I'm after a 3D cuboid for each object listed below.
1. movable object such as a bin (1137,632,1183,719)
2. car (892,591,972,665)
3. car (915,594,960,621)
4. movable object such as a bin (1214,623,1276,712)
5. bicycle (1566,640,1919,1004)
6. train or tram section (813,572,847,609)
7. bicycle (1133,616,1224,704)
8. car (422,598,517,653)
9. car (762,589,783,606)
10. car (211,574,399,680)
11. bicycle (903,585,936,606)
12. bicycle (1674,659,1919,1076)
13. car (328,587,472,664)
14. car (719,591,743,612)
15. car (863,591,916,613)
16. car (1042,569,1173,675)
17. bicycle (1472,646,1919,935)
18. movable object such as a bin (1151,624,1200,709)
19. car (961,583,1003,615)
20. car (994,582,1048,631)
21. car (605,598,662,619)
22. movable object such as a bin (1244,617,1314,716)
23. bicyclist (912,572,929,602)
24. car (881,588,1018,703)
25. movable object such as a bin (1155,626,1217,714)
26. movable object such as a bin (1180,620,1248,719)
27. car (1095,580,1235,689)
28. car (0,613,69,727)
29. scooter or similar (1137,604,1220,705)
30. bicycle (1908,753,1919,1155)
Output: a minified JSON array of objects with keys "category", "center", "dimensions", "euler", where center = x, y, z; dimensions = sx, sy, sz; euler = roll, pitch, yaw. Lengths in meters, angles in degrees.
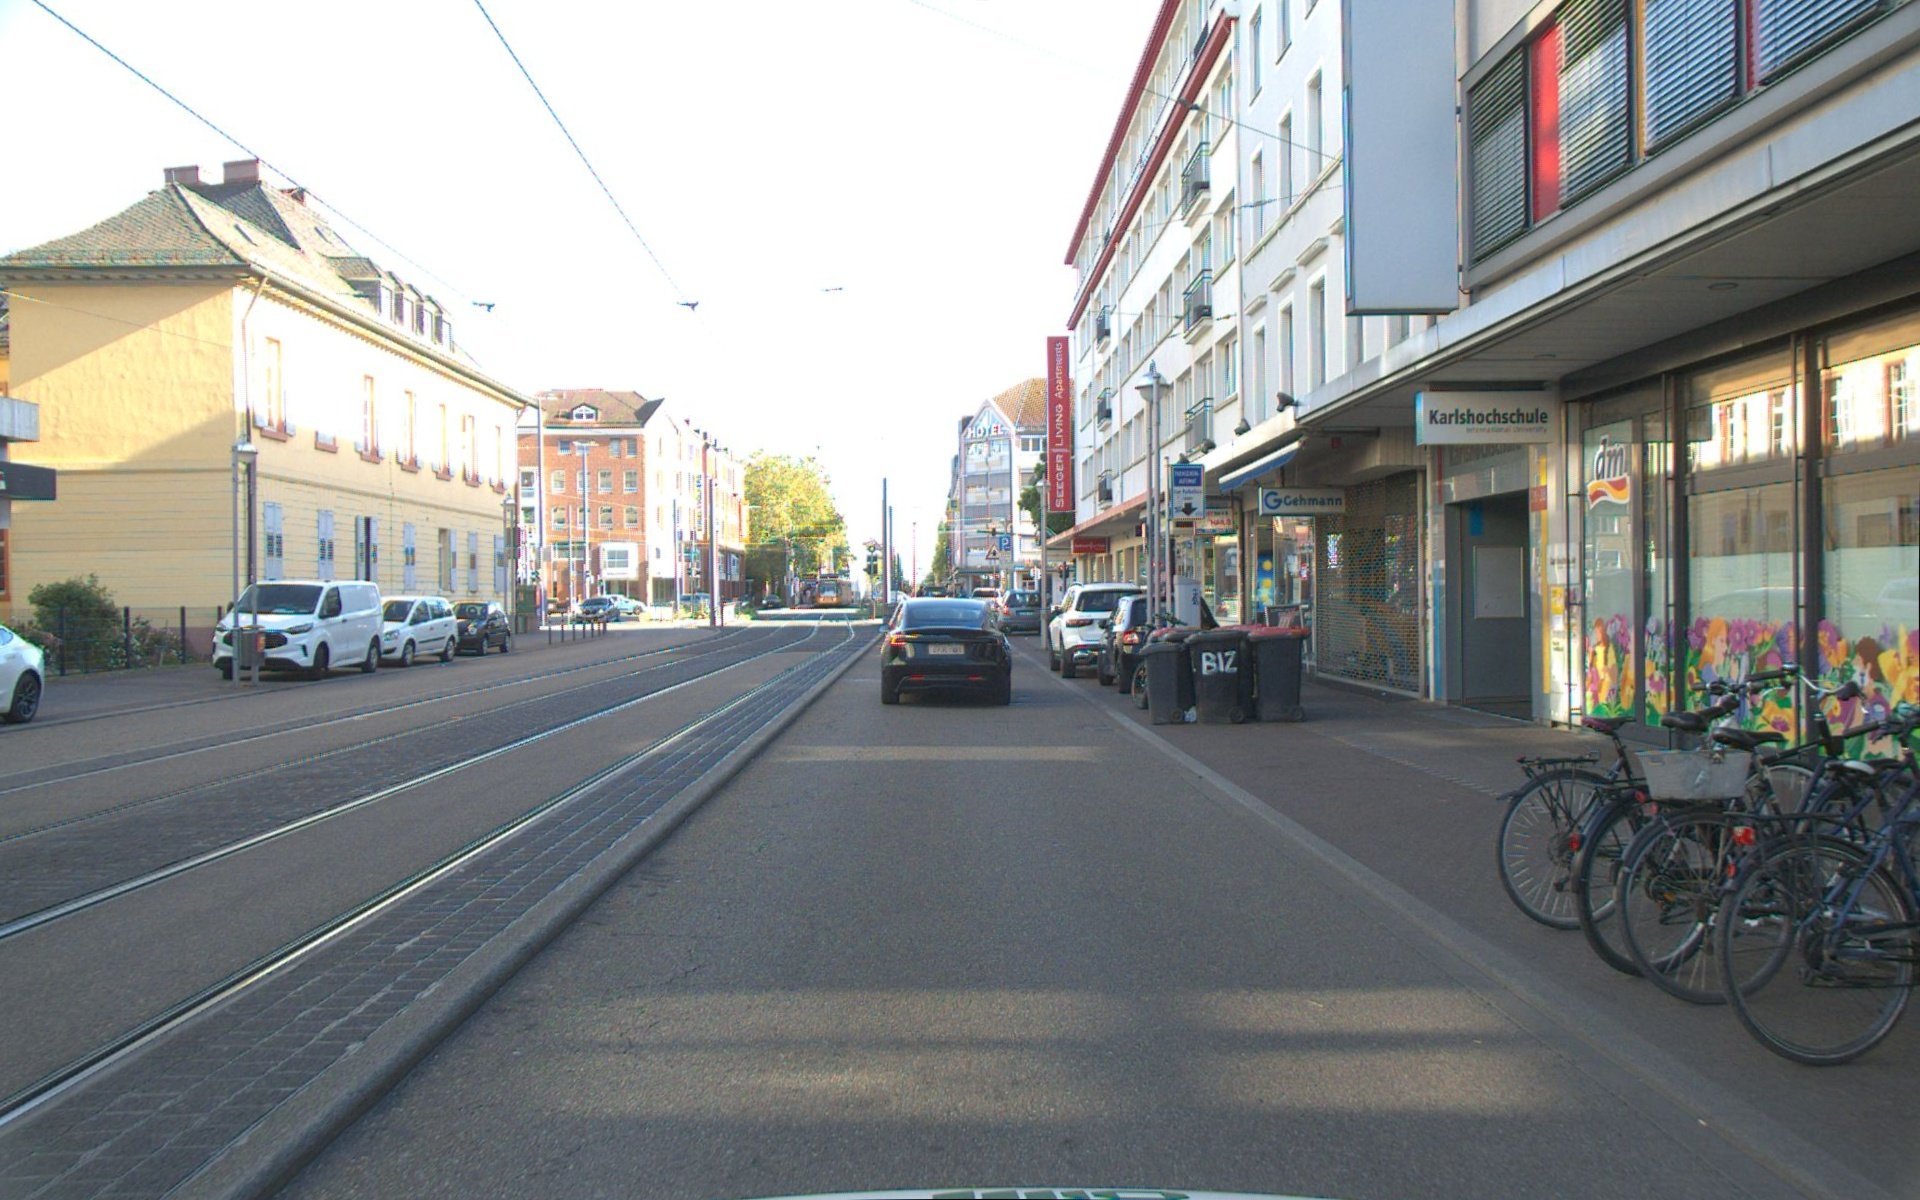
[{"category":"movable object such as a bin","center":[2.348,0.881,19.423],"dimensions":[0.477,0.975,0.458],"euler":[-2,0,2]},{"category":"car","center":[-0.581,0.557,35.776],"dimensions":[1.620,1.443,4.000],"euler":[1,1,0]},{"category":"car","center":[-1.369,0.415,97.937],"dimensions":[1.793,1.545,4.203],"euler":[1,0,-14]},{"category":"movable object such as a bin","center":[3.450,0.811,20.062],"dimensions":[0.644,1.032,0.636],"euler":[-1,0,1]},{"category":"bicycle","center":[3.311,0.798,6.279],"dimensions":[1.751,1.238,0.669],"euler":[-2,0,-2]},{"category":"train or tram section","center":[-13.930,-0.999,178.404],"dimensions":[2.620,3.780,14.190],"euler":[1,0,-1]},{"category":"bicycle","center":[2.874,0.784,21.804],"dimensions":[1.108,1.098,0.319],"euler":[-2,0,-3]},{"category":"car","center":[-13.596,0.686,46.036],"dimensions":[1.581,1.425,3.719],"euler":[1,0,-2]},{"category":"car","center":[-19.458,-0.260,171.970],"dimensions":[1.715,1.680,3.999],"euler":[1,0,-1]},{"category":"car","center":[-13.457,0.521,34.346],"dimensions":[1.953,2.009,5.095],"euler":[1,0,-2]},{"category":"bicycle","center":[-2.158,-0.246,87.816],"dimensions":[1.696,1.107,0.677],"euler":[1,0,-9]},{"category":"bicycle","center":[3.352,0.825,5.428],"dimensions":[1.751,1.238,0.587],"euler":[-2,0,-2]},{"category":"car","center":[-13.494,0.583,40.122],"dimensions":[1.770,1.715,4.649],"euler":[1,0,1]},{"category":"car","center":[-23.392,0.158,168.857],"dimensions":[1.953,2.049,3.999],"euler":[1,0,-1]},{"category":"car","center":[-5.751,0.170,135.290],"dimensions":[3.960,1.769,1.973],"euler":[-1,0,-39]},{"category":"car","center":[2.690,0.385,31.343],"dimensions":[1.812,1.754,5.191],"euler":[-2,0,-2]},{"category":"bicycle","center":[3.325,0.838,7.545],"dimensions":[1.751,1.179,0.669],"euler":[-2,0,-2]},{"category":"movable object such as a bin","center":[2.709,0.827,20.833],"dimensions":[0.511,1.032,0.671],"euler":[-1,0,1]},{"category":"car","center":[1.086,-0.055,83.005],"dimensions":[1.748,1.545,4.214],"euler":[1,0,-4]},{"category":"car","center":[2.147,0.205,59.182],"dimensions":[1.710,1.660,3.648],"euler":[-2,1,-1]},{"category":"car","center":[-24.066,0.615,122.012],"dimensions":[1.958,1.445,3.988],"euler":[1,0,33]},{"category":"movable object such as a bin","center":[3.717,0.770,19.298],"dimensions":[0.676,1.108,0.666],"euler":[-2,0,2]},{"category":"bicyclist","center":[-2.106,-0.683,87.811],"dimensions":[0.821,1.526,0.559],"euler":[1,0,-9]},{"category":"car","center":[-0.209,0.610,23.973],"dimensions":[1.812,1.510,3.785],"euler":[1,0,-2]},{"category":"movable object such as a bin","center":[2.746,0.845,20.091],"dimensions":[0.672,1.032,0.508],"euler":[-1,0,1]},{"category":"movable object such as a bin","center":[2.955,0.800,19.296],"dimensions":[0.676,1.108,0.686],"euler":[-2,0,2]},{"category":"car","center":[3.163,0.505,26.236],"dimensions":[1.581,1.555,4.069],"euler":[-2,0,-2]},{"category":"car","center":[-13.306,0.904,20.749],"dimensions":[1.850,1.446,4.654],"euler":[1,0,-2]},{"category":"scooter or similar","center":[2.818,0.702,21.371],"dimensions":[0.973,1.253,0.319],"euler":[-2,0,-3]},{"category":"bicycle","center":[3.370,0.904,4.063],"dimensions":[1.737,1.050,0.596],"euler":[-2,0,-2]}]
